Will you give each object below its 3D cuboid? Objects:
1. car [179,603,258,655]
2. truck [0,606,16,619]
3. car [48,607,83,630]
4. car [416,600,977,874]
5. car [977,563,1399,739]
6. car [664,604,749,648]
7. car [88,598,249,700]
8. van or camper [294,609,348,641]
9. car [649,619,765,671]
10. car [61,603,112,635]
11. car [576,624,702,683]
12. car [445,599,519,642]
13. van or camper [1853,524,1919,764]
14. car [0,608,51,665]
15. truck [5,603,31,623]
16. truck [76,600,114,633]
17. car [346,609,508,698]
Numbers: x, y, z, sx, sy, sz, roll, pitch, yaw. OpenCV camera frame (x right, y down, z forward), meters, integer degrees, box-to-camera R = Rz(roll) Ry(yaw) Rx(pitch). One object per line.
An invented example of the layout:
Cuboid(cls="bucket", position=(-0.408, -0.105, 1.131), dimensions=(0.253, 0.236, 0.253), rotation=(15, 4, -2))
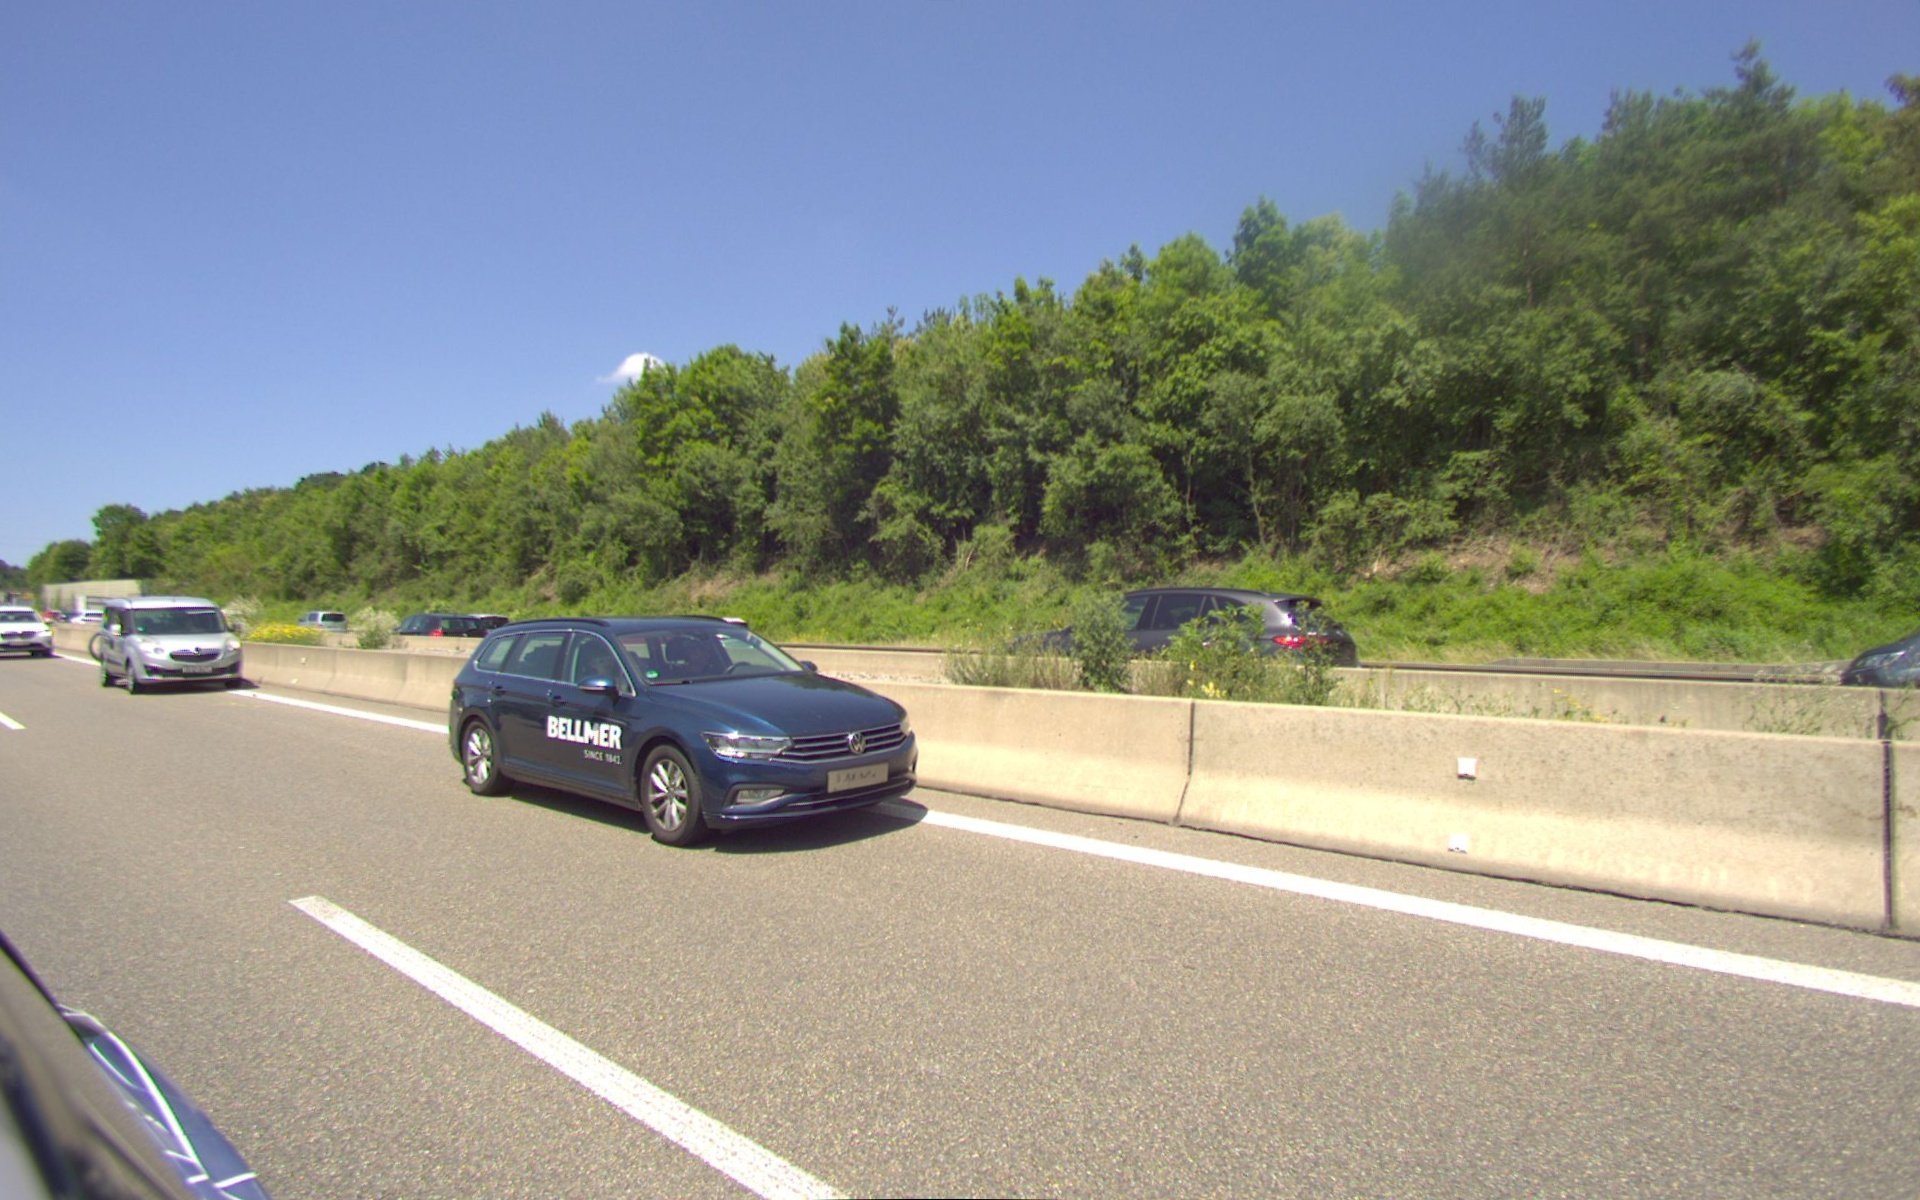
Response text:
Cuboid(cls="car", position=(-31.402, 1.157, 42.818), dimensions=(4.349, 2.029, 1.971), rotation=(0, 0, 44))
Cuboid(cls="truck", position=(-159.174, 2.082, 168.361), dimensions=(6.488, 2.029, 2.327), rotation=(0, 0, 41))
Cuboid(cls="car", position=(-84.021, 1.716, 95.039), dimensions=(3.998, 2.029, 1.973), rotation=(0, 0, 41))
Cuboid(cls="car", position=(-2.249, 0.793, 7.705), dimensions=(4.676, 1.461, 1.854), rotation=(-2, -1, 42))
Cuboid(cls="car", position=(2.559, 0.536, 12.043), dimensions=(4.511, 1.705, 1.973), rotation=(-1, -1, 41))
Cuboid(cls="car", position=(-12.804, 1.261, 51.072), dimensions=(4.363, 2.029, 2.101), rotation=(0, 0, 42))
Cuboid(cls="car", position=(-16.102, 0.873, 20.489), dimensions=(4.918, 1.786, 1.832), rotation=(0, 0, 43))
Cuboid(cls="van or camper", position=(-43.471, 1.676, 68.783), dimensions=(4.680, 2.029, 1.972), rotation=(0, 0, 42))
Cuboid(cls="car", position=(-9.466, 1.625, 37.675), dimensions=(4.511, 1.705, 1.973), rotation=(0, 0, 41))
Cuboid(cls="car", position=(-57.518, 1.221, 66.625), dimensions=(4.191, 2.029, 1.973), rotation=(0, 0, 41))
Cuboid(cls="car", position=(-10.773, 1.722, 33.865), dimensions=(4.511, 1.705, 1.973), rotation=(0, 0, 41))
Cuboid(cls="car", position=(-24.269, 0.988, 51.340), dimensions=(4.474, 2.029, 1.971), rotation=(0, 0, 44))
Cuboid(cls="van or camper", position=(14.289, 0.540, 11.127), dimensions=(6.650, 2.880, 2.132), rotation=(0, 0, 41))
Cuboid(cls="car", position=(-31.236, 1.164, 33.119), dimensions=(3.999, 1.719, 1.800), rotation=(0, 0, 42))
Cuboid(cls="truck", position=(-140.004, 1.922, 150.399), dimensions=(6.739, 2.906, 2.155), rotation=(0, 0, 41))
Cuboid(cls="truck", position=(-111.011, 2.071, 129.796), dimensions=(7.988, 4.019, 2.664), rotation=(0, 0, 42))
Cuboid(cls="car", position=(-13.936, 1.283, 26.338), dimensions=(5.151, 2.029, 1.973), rotation=(0, 0, 40))
